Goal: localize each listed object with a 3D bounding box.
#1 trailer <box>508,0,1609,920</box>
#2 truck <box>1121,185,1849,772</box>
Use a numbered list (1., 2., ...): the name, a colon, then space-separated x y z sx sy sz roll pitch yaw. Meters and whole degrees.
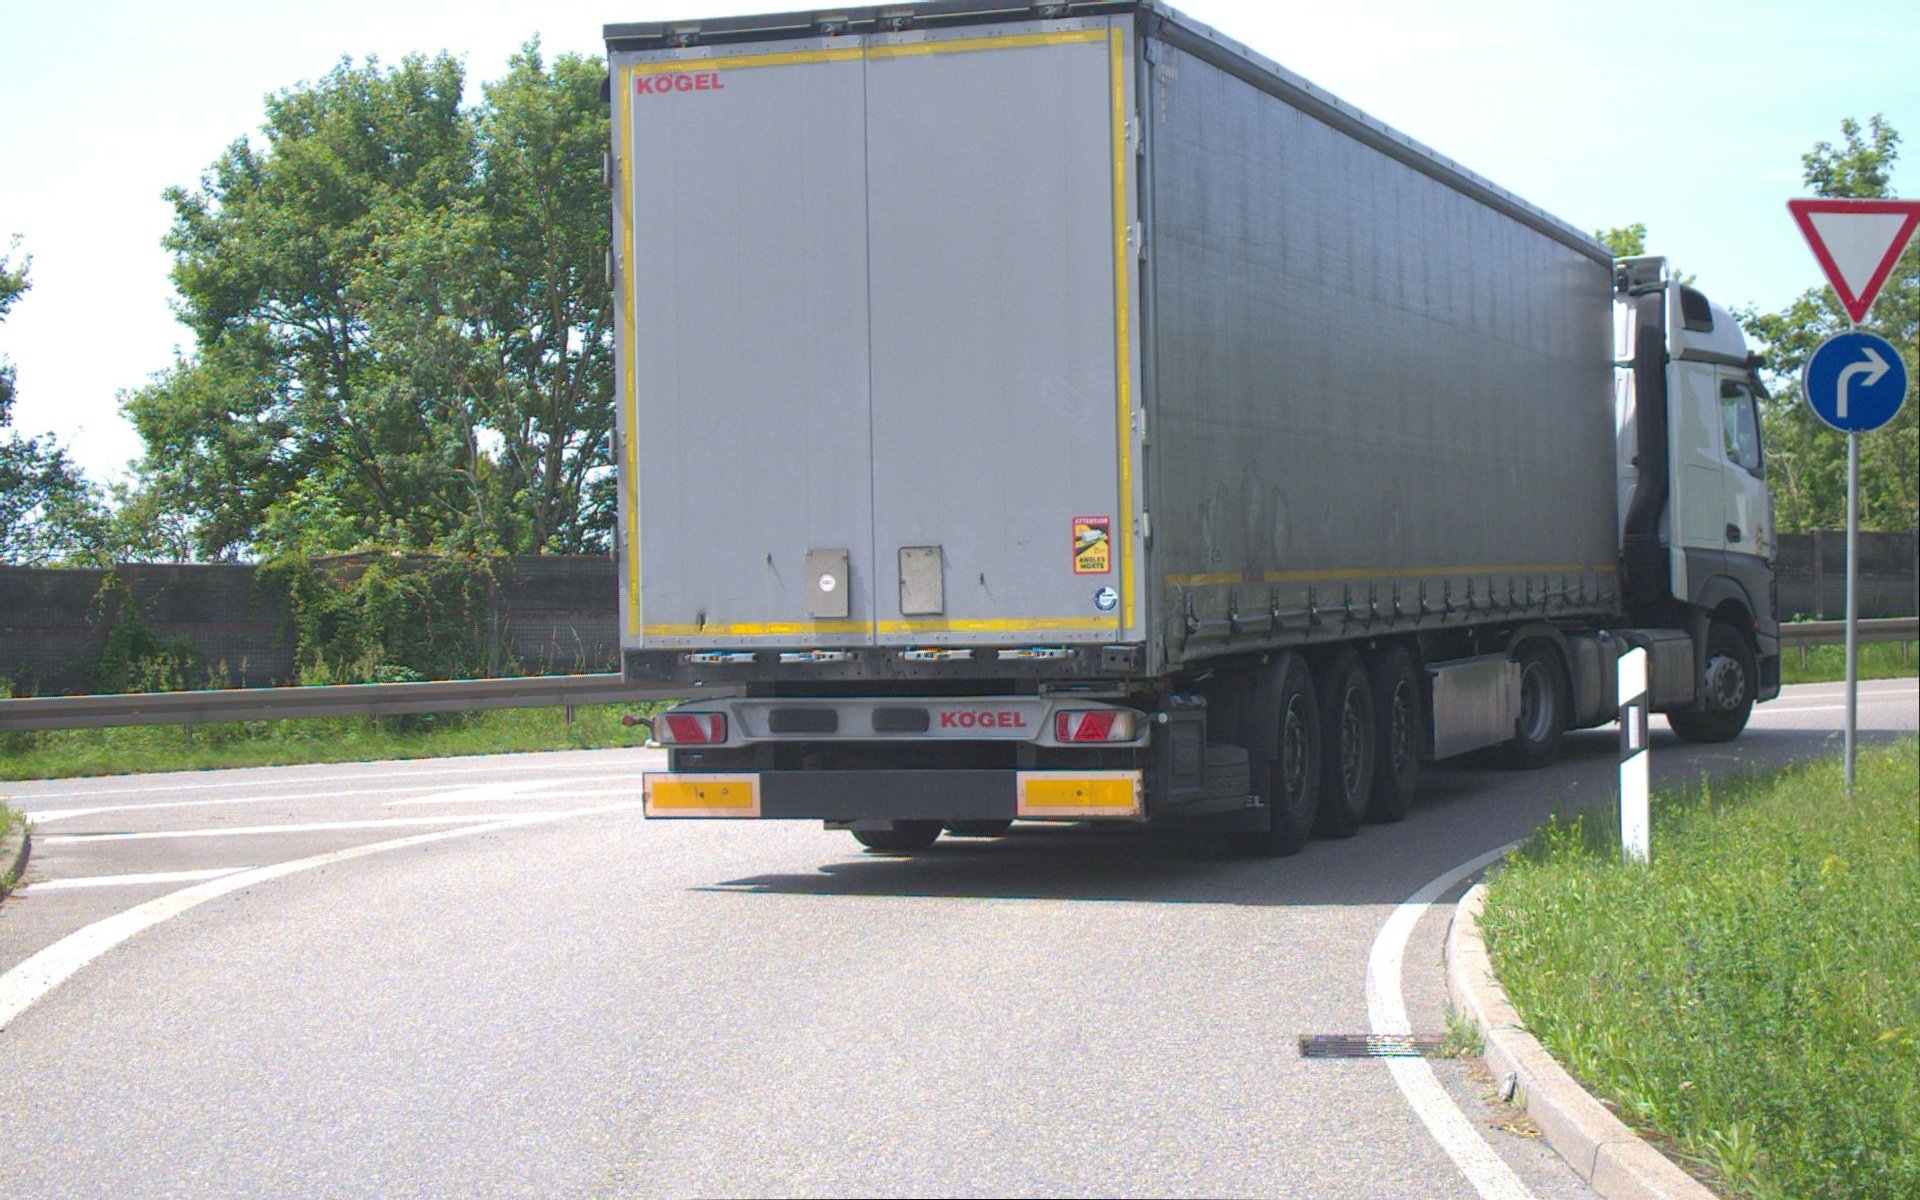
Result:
1. trailer: 1.547 -0.724 21.365 3.030 4.021 13.340 -1 1 19
2. truck: 4.571 -0.944 28.496 3.159 4.210 7.108 0 1 34
